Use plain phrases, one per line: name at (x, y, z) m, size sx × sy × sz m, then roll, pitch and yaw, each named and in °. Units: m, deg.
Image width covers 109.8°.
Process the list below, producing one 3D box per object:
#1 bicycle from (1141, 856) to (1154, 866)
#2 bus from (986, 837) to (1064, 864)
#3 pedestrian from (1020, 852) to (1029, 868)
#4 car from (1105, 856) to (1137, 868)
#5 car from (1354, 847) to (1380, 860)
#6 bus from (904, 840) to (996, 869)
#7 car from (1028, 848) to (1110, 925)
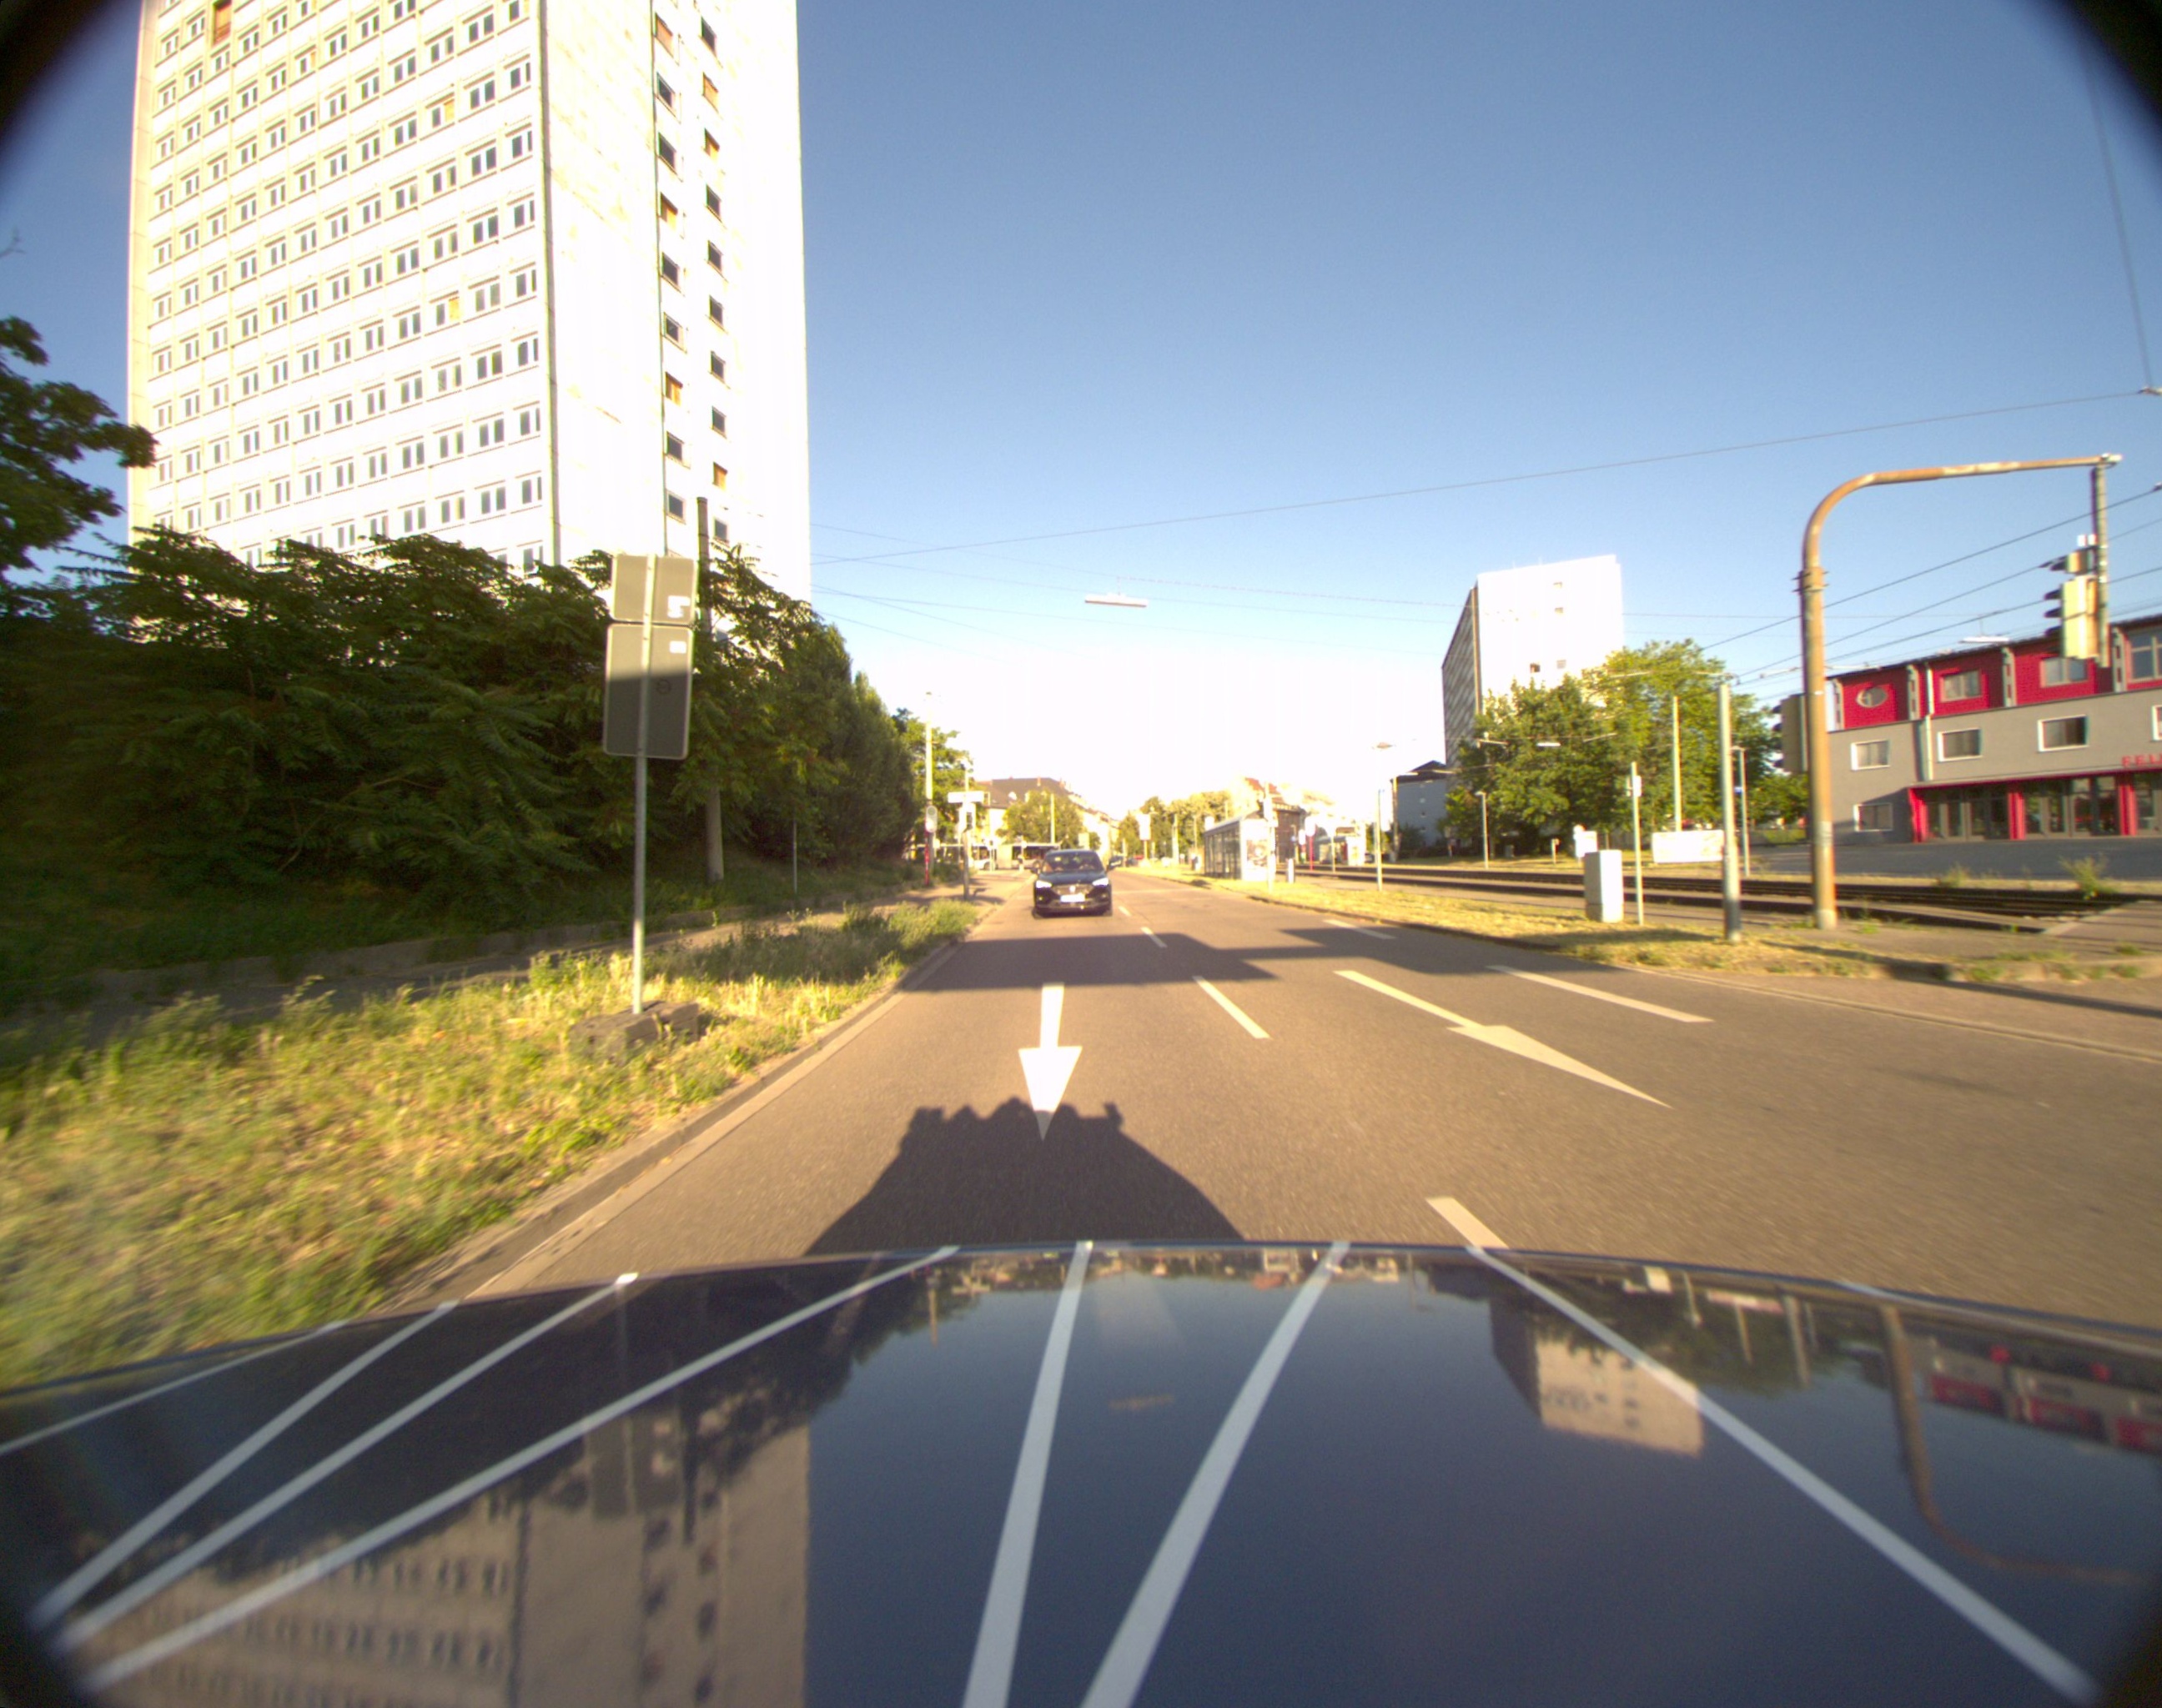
bicycle at (6.674, 0.699, 76.220) m, size 0.606 × 0.988 × 1.750 m, roll -1°, pitch 0°, yaw 29°
bus at (-6.423, -0.425, 88.238) m, size 8.874 × 3.007 × 2.607 m, roll -1°, pitch 0°, yaw -35°
pedestrian at (-5.702, 0.588, 76.560) m, size 0.592 × 1.586 × 0.547 m, roll -1°, pitch 0°, yaw 35°
car at (5.116, 1.008, 95.818) m, size 3.987 × 1.465 × 1.737 m, roll -1°, pitch -1°, yaw -43°
car at (35.241, -0.027, 93.724) m, size 1.740 × 1.539 × 4.437 m, roll -2°, pitch -1°, yaw 2°
bus at (-14.374, 0.044, 83.818) m, size 9.588 × 3.007 × 2.609 m, roll -1°, pitch 0°, yaw -23°
car at (-0.263, 0.720, 19.510) m, size 1.818 × 1.670 × 4.623 m, roll -1°, pitch 1°, yaw 0°
